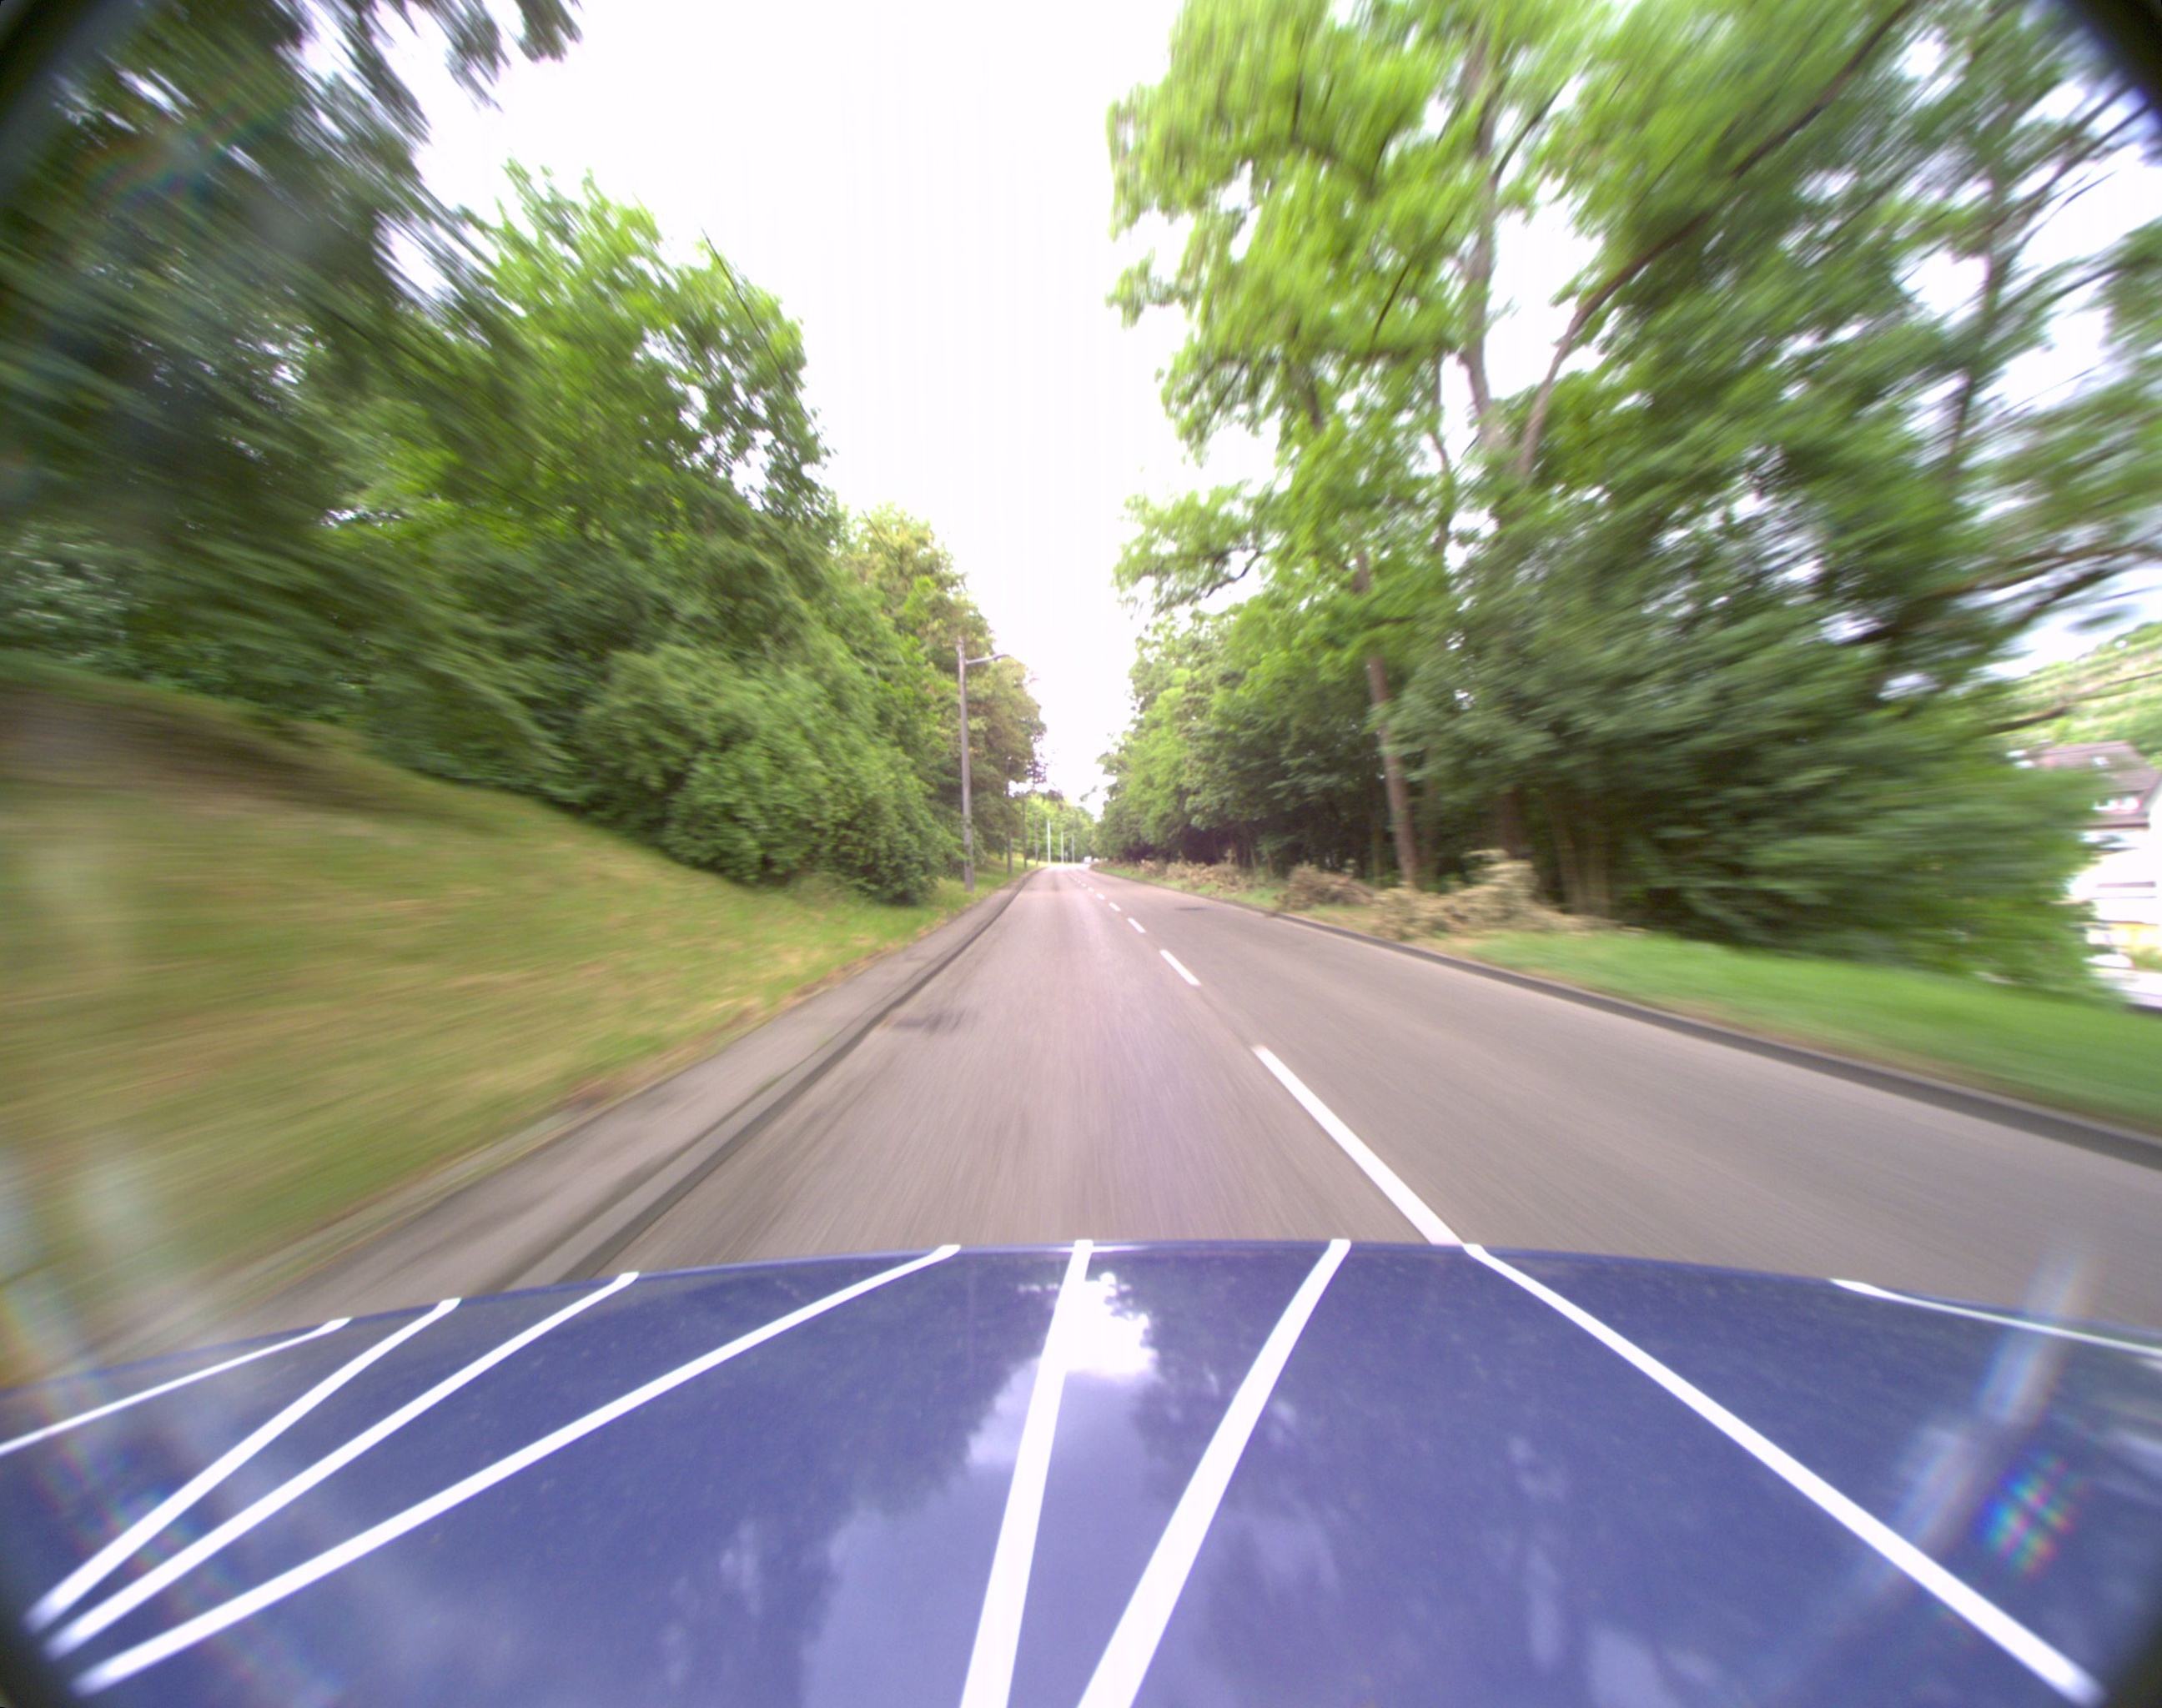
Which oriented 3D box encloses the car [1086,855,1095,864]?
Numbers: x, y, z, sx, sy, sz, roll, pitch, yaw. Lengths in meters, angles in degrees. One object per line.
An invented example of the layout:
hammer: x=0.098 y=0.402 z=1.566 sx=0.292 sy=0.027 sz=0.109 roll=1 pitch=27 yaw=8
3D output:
car: x=2.241 y=1.368 z=184.703 sx=1.999 sy=1.936 sz=4.945 roll=-1 pitch=0 yaw=0
